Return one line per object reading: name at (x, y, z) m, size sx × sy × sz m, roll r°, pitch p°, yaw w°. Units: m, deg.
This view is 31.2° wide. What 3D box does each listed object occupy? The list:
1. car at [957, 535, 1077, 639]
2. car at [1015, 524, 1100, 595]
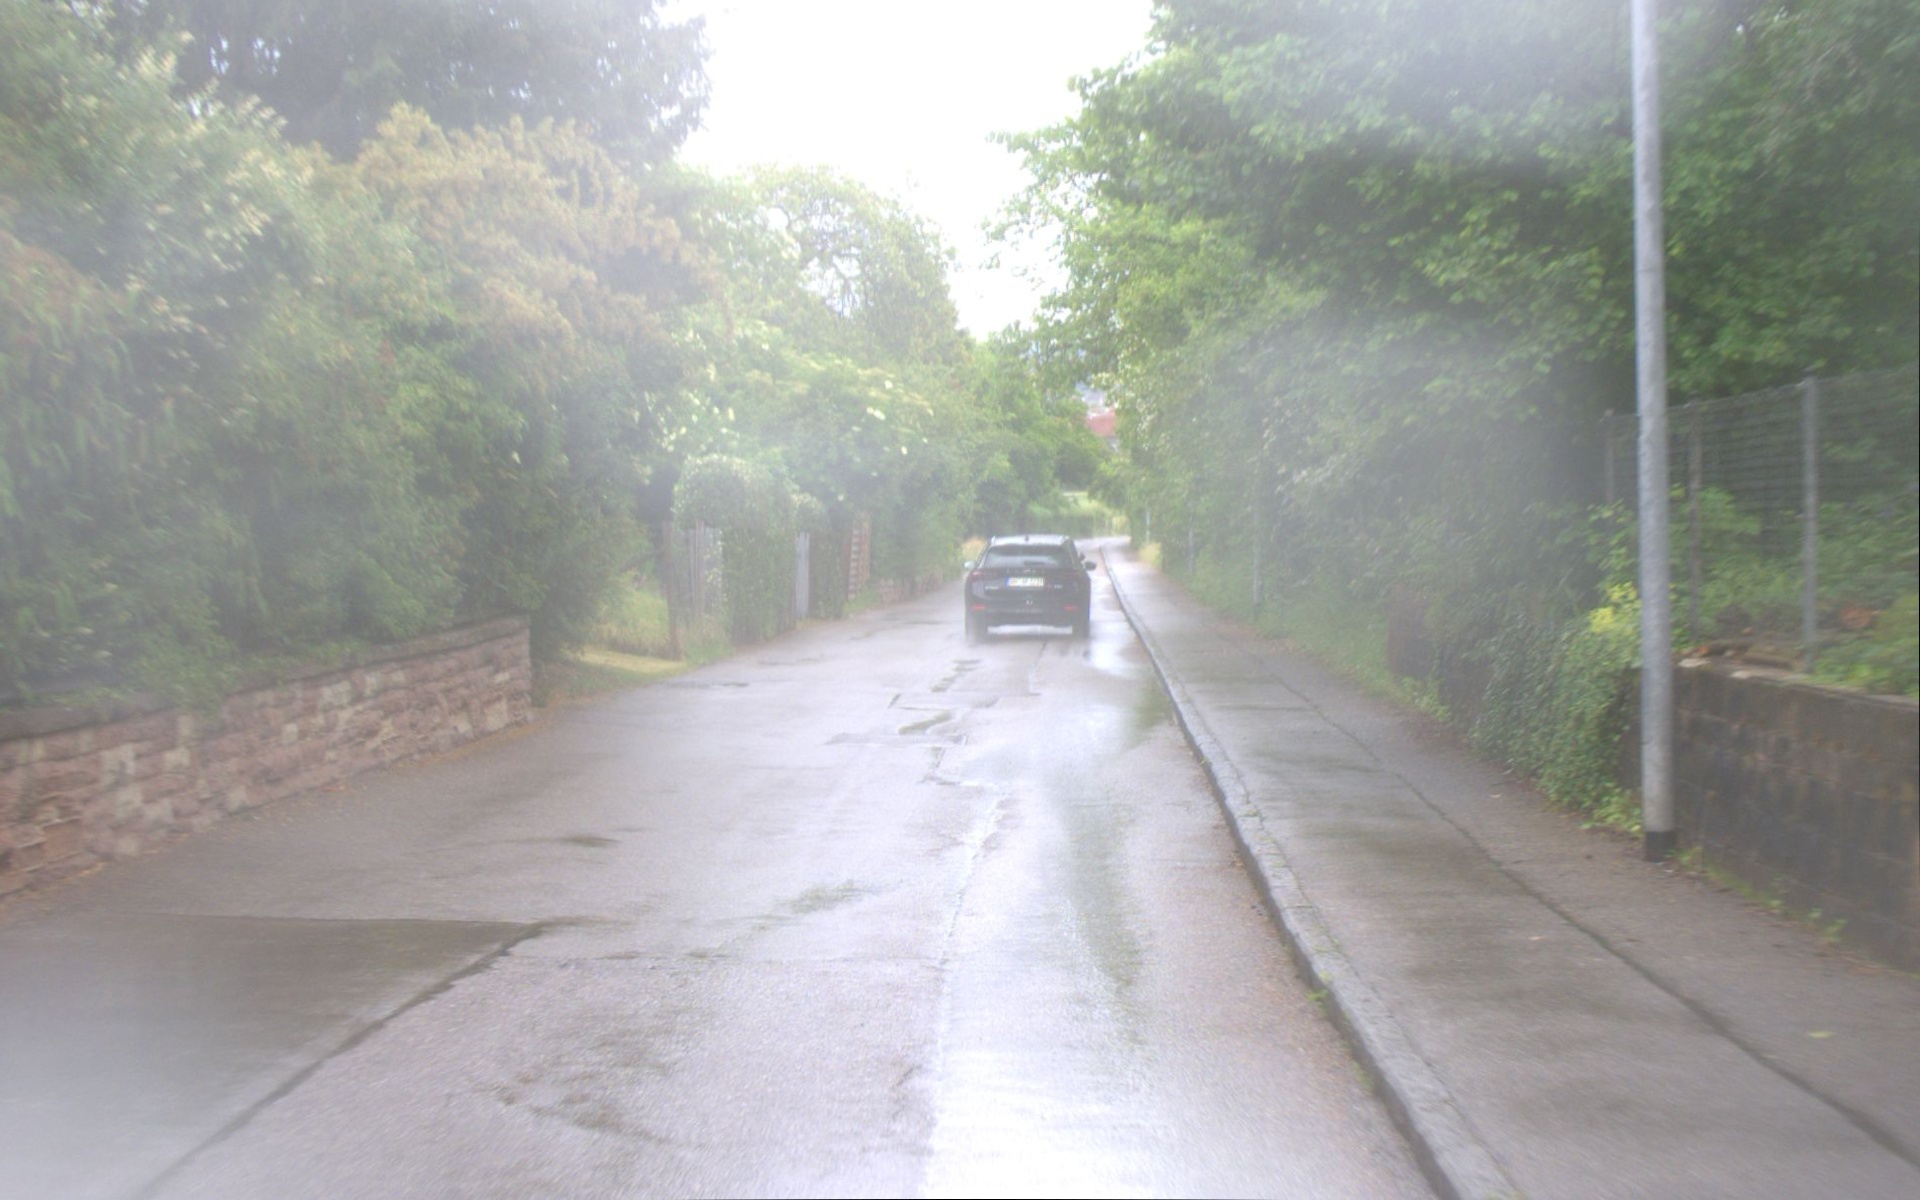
car at (0.849, -0.169, 49.721) m, size 1.635 × 1.445 × 3.544 m, roll 0°, pitch 0°, yaw 3°
car at (2.055, -0.826, 71.666) m, size 1.635 × 1.409 × 3.544 m, roll 0°, pitch 0°, yaw 4°
